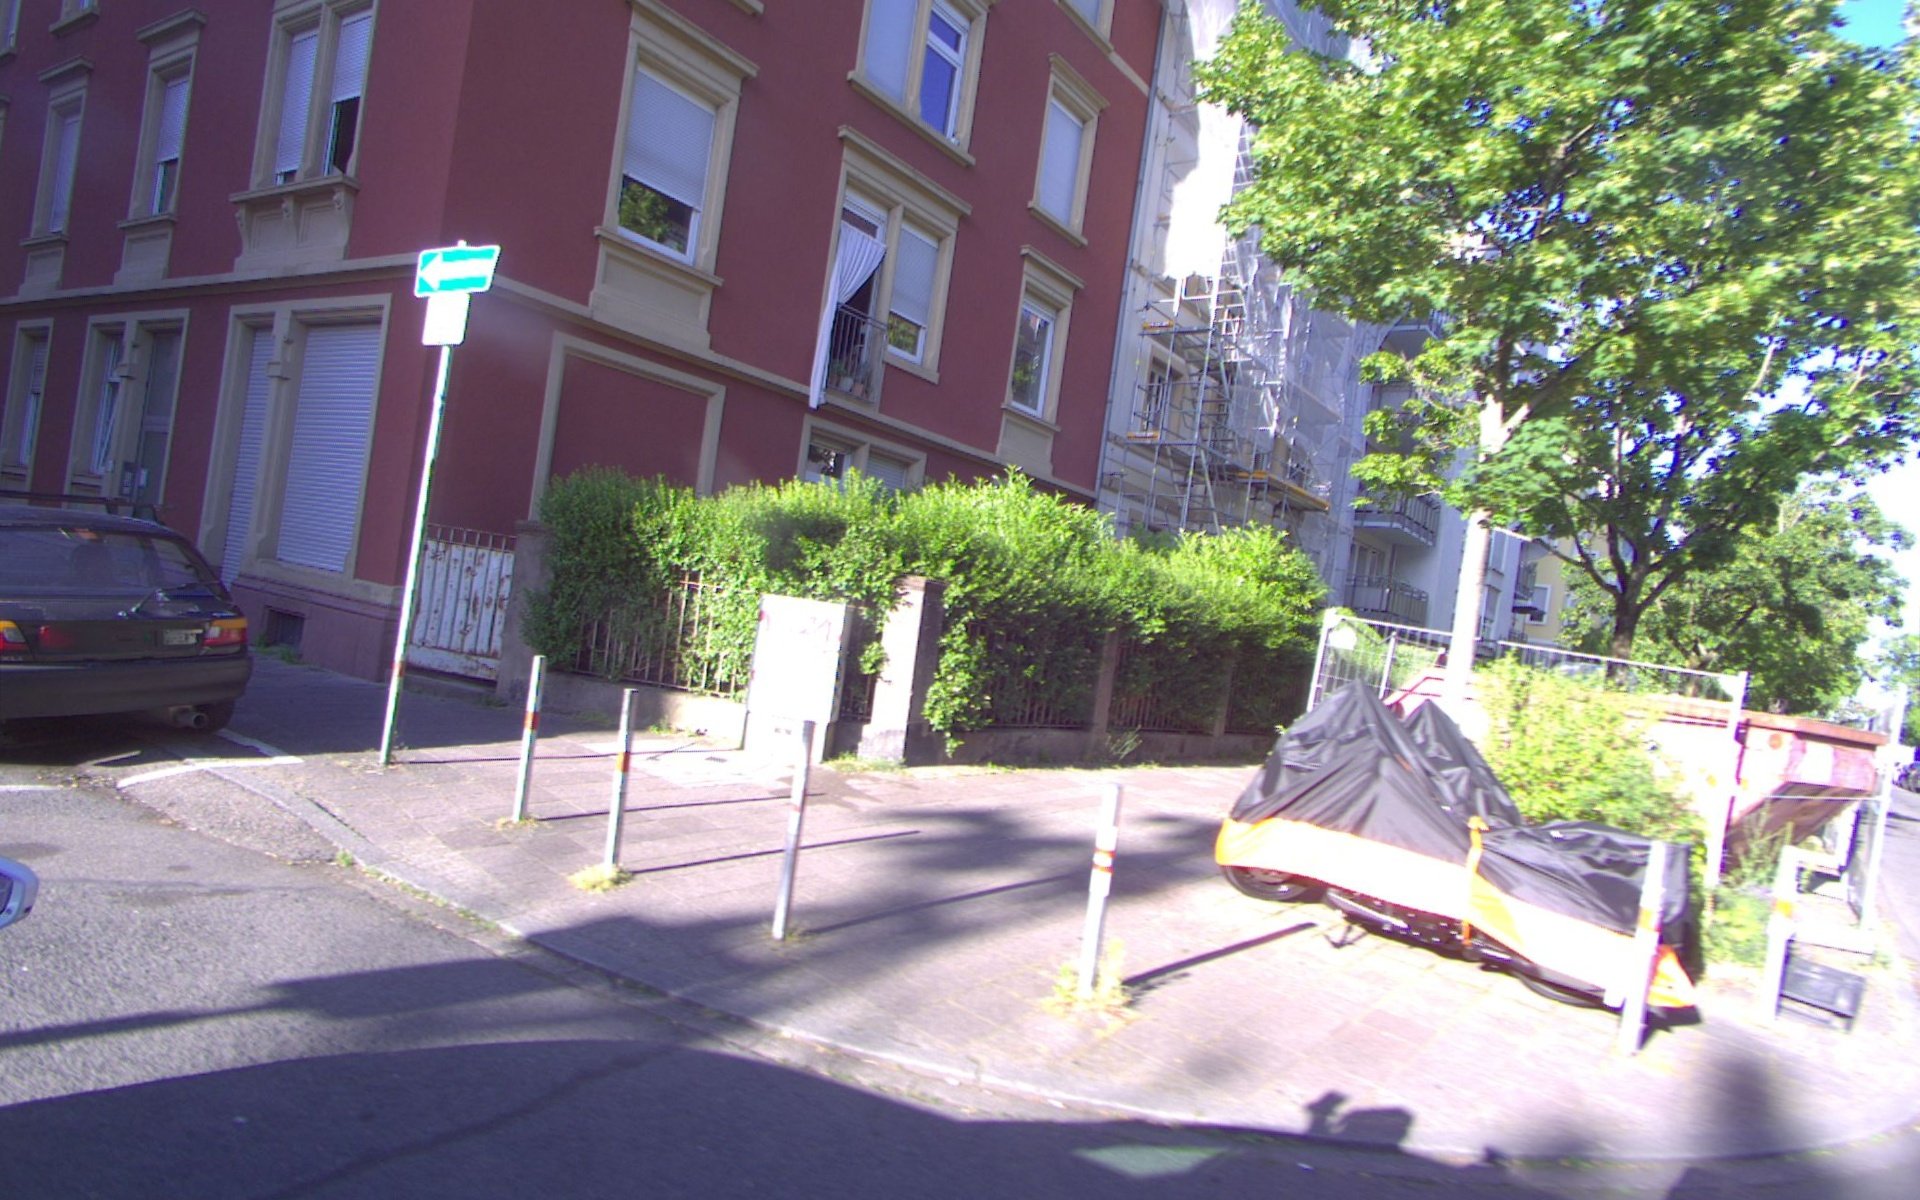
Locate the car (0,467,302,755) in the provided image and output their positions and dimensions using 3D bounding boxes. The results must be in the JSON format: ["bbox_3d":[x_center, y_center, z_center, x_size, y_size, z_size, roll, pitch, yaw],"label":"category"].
[{"bbox_3d":[-6.293,-0.094,6.650,3.643,1.500,1.672,8,-1,30],"label":"car"}]

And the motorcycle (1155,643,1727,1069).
[{"bbox_3d":[2.558,1.224,5.647,2.584,1.543,0.871,9,1,40],"label":"motorcycle"}]

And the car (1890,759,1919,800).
[{"bbox_3d":[47.521,8.929,49.744,1.778,1.787,4.132,8,-1,40],"label":"car"}]

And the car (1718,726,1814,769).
[{"bbox_3d":[45.385,8.276,56.752,3.938,1.682,1.722,8,-1,36],"label":"car"}]

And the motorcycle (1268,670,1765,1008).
[{"bbox_3d":[3.414,1.349,6.382,2.506,1.421,0.868,7,0,40],"label":"motorcycle"}]

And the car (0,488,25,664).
[{"bbox_3d":[-10.143,-0.501,8.842,3.903,1.479,1.709,8,-1,31],"label":"car"}]
